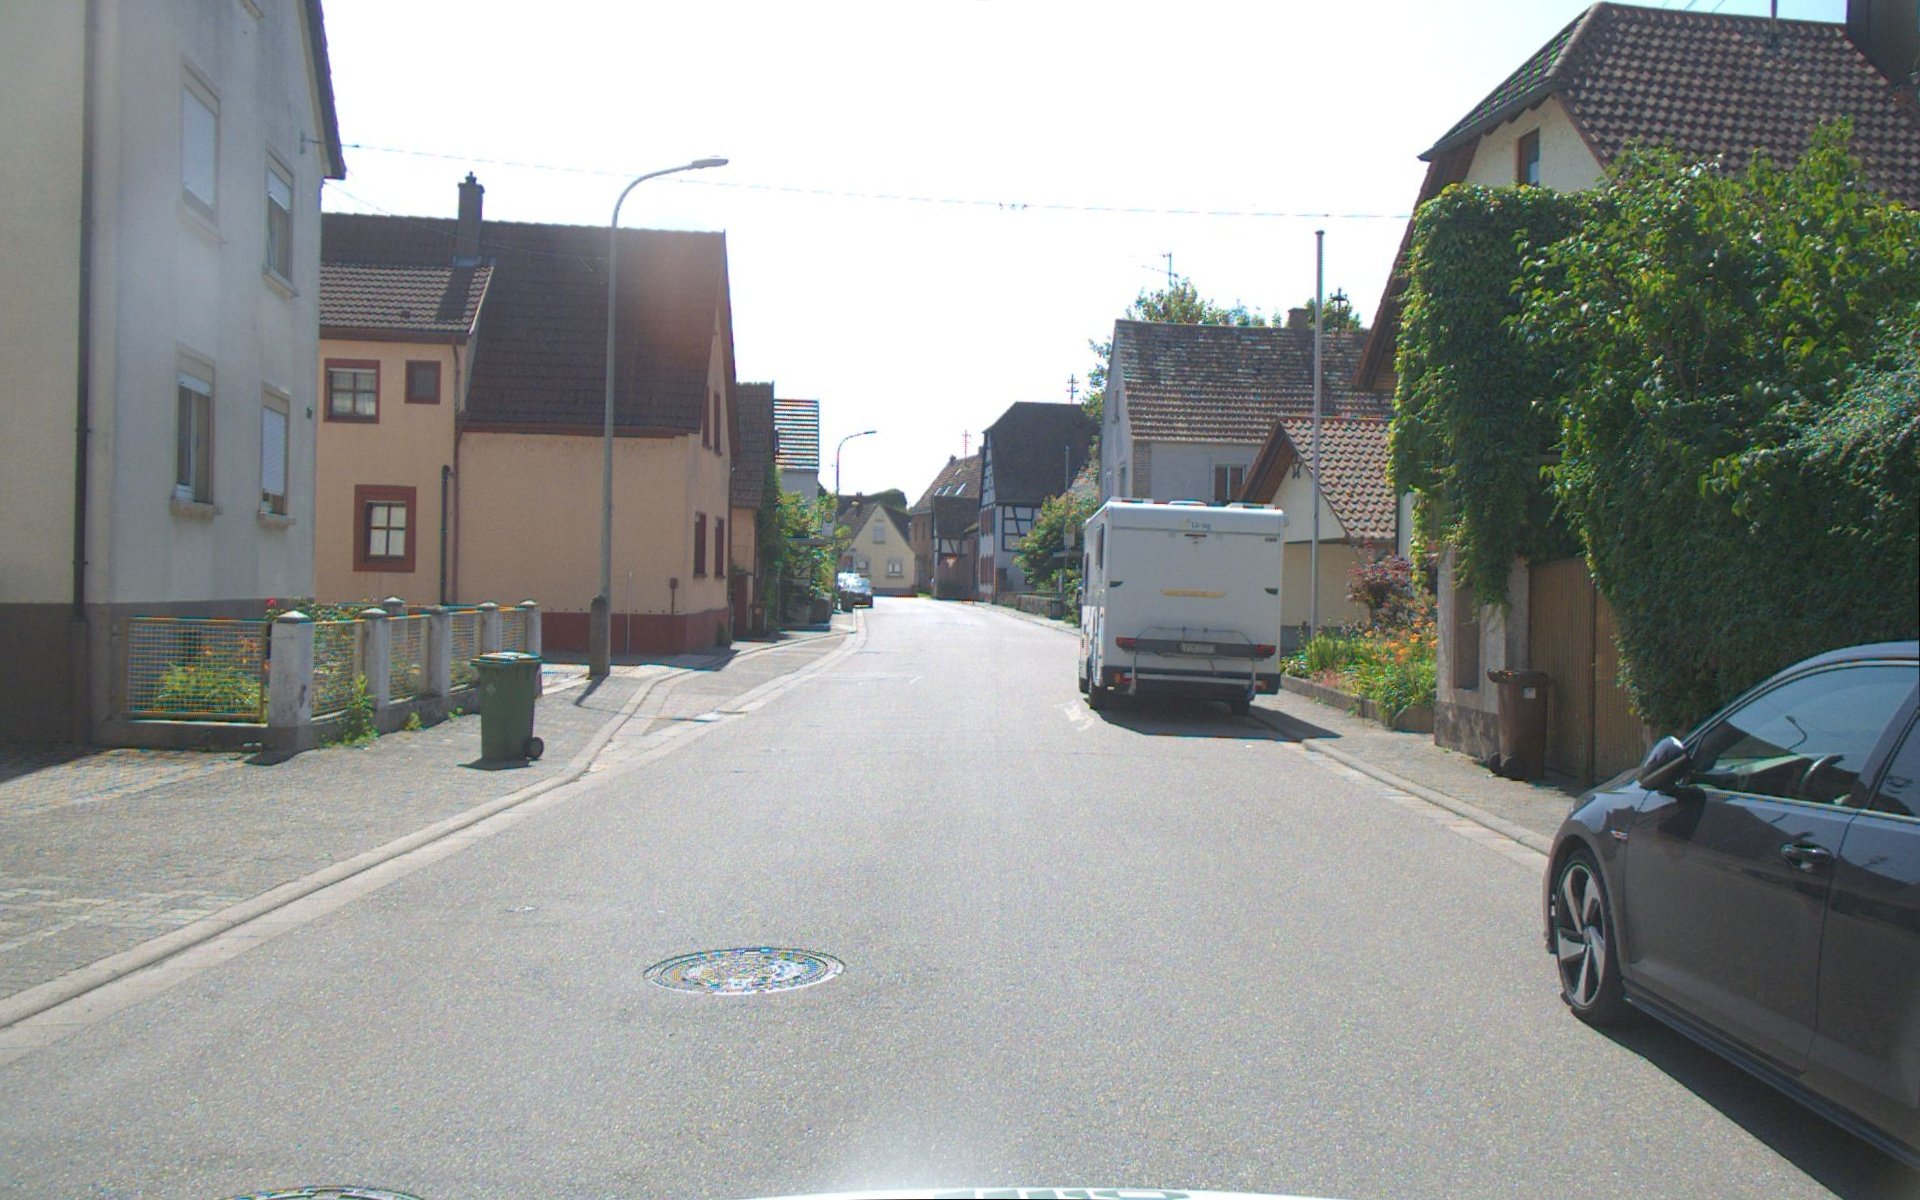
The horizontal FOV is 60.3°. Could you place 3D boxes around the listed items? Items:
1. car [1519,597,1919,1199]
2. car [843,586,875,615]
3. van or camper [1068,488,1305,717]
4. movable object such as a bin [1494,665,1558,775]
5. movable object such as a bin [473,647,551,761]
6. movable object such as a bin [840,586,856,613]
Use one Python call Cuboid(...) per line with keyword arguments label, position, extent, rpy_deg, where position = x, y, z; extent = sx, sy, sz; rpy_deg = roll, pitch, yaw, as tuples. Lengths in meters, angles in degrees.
Cuboid(label="car", position=(3.056, 0.751, 4.598), extent=(1.677, 1.489, 4.065), rpy_deg=(0, 0, 1))
Cuboid(label="car", position=(-5.232, 0.011, 85.861), extent=(1.481, 1.461, 3.511), rpy_deg=(0, 0, 0))
Cuboid(label="van or camper", position=(2.911, 0.021, 22.411), extent=(2.470, 2.744, 4.554), rpy_deg=(1, 0, -1))
Cuboid(label="movable object such as a bin", position=(4.997, 1.053, 14.614), extent=(0.404, 0.928, 0.438), rpy_deg=(0, 0, -1))
Cuboid(label="movable object such as a bin", position=(-4.024, 0.929, 14.881), extent=(0.528, 0.966, 0.553), rpy_deg=(2, 0, -1))
Cuboid(label="movable object such as a bin", position=(-4.977, -0.035, 73.407), extent=(0.674, 1.206, 0.714), rpy_deg=(0, 0, -1))
